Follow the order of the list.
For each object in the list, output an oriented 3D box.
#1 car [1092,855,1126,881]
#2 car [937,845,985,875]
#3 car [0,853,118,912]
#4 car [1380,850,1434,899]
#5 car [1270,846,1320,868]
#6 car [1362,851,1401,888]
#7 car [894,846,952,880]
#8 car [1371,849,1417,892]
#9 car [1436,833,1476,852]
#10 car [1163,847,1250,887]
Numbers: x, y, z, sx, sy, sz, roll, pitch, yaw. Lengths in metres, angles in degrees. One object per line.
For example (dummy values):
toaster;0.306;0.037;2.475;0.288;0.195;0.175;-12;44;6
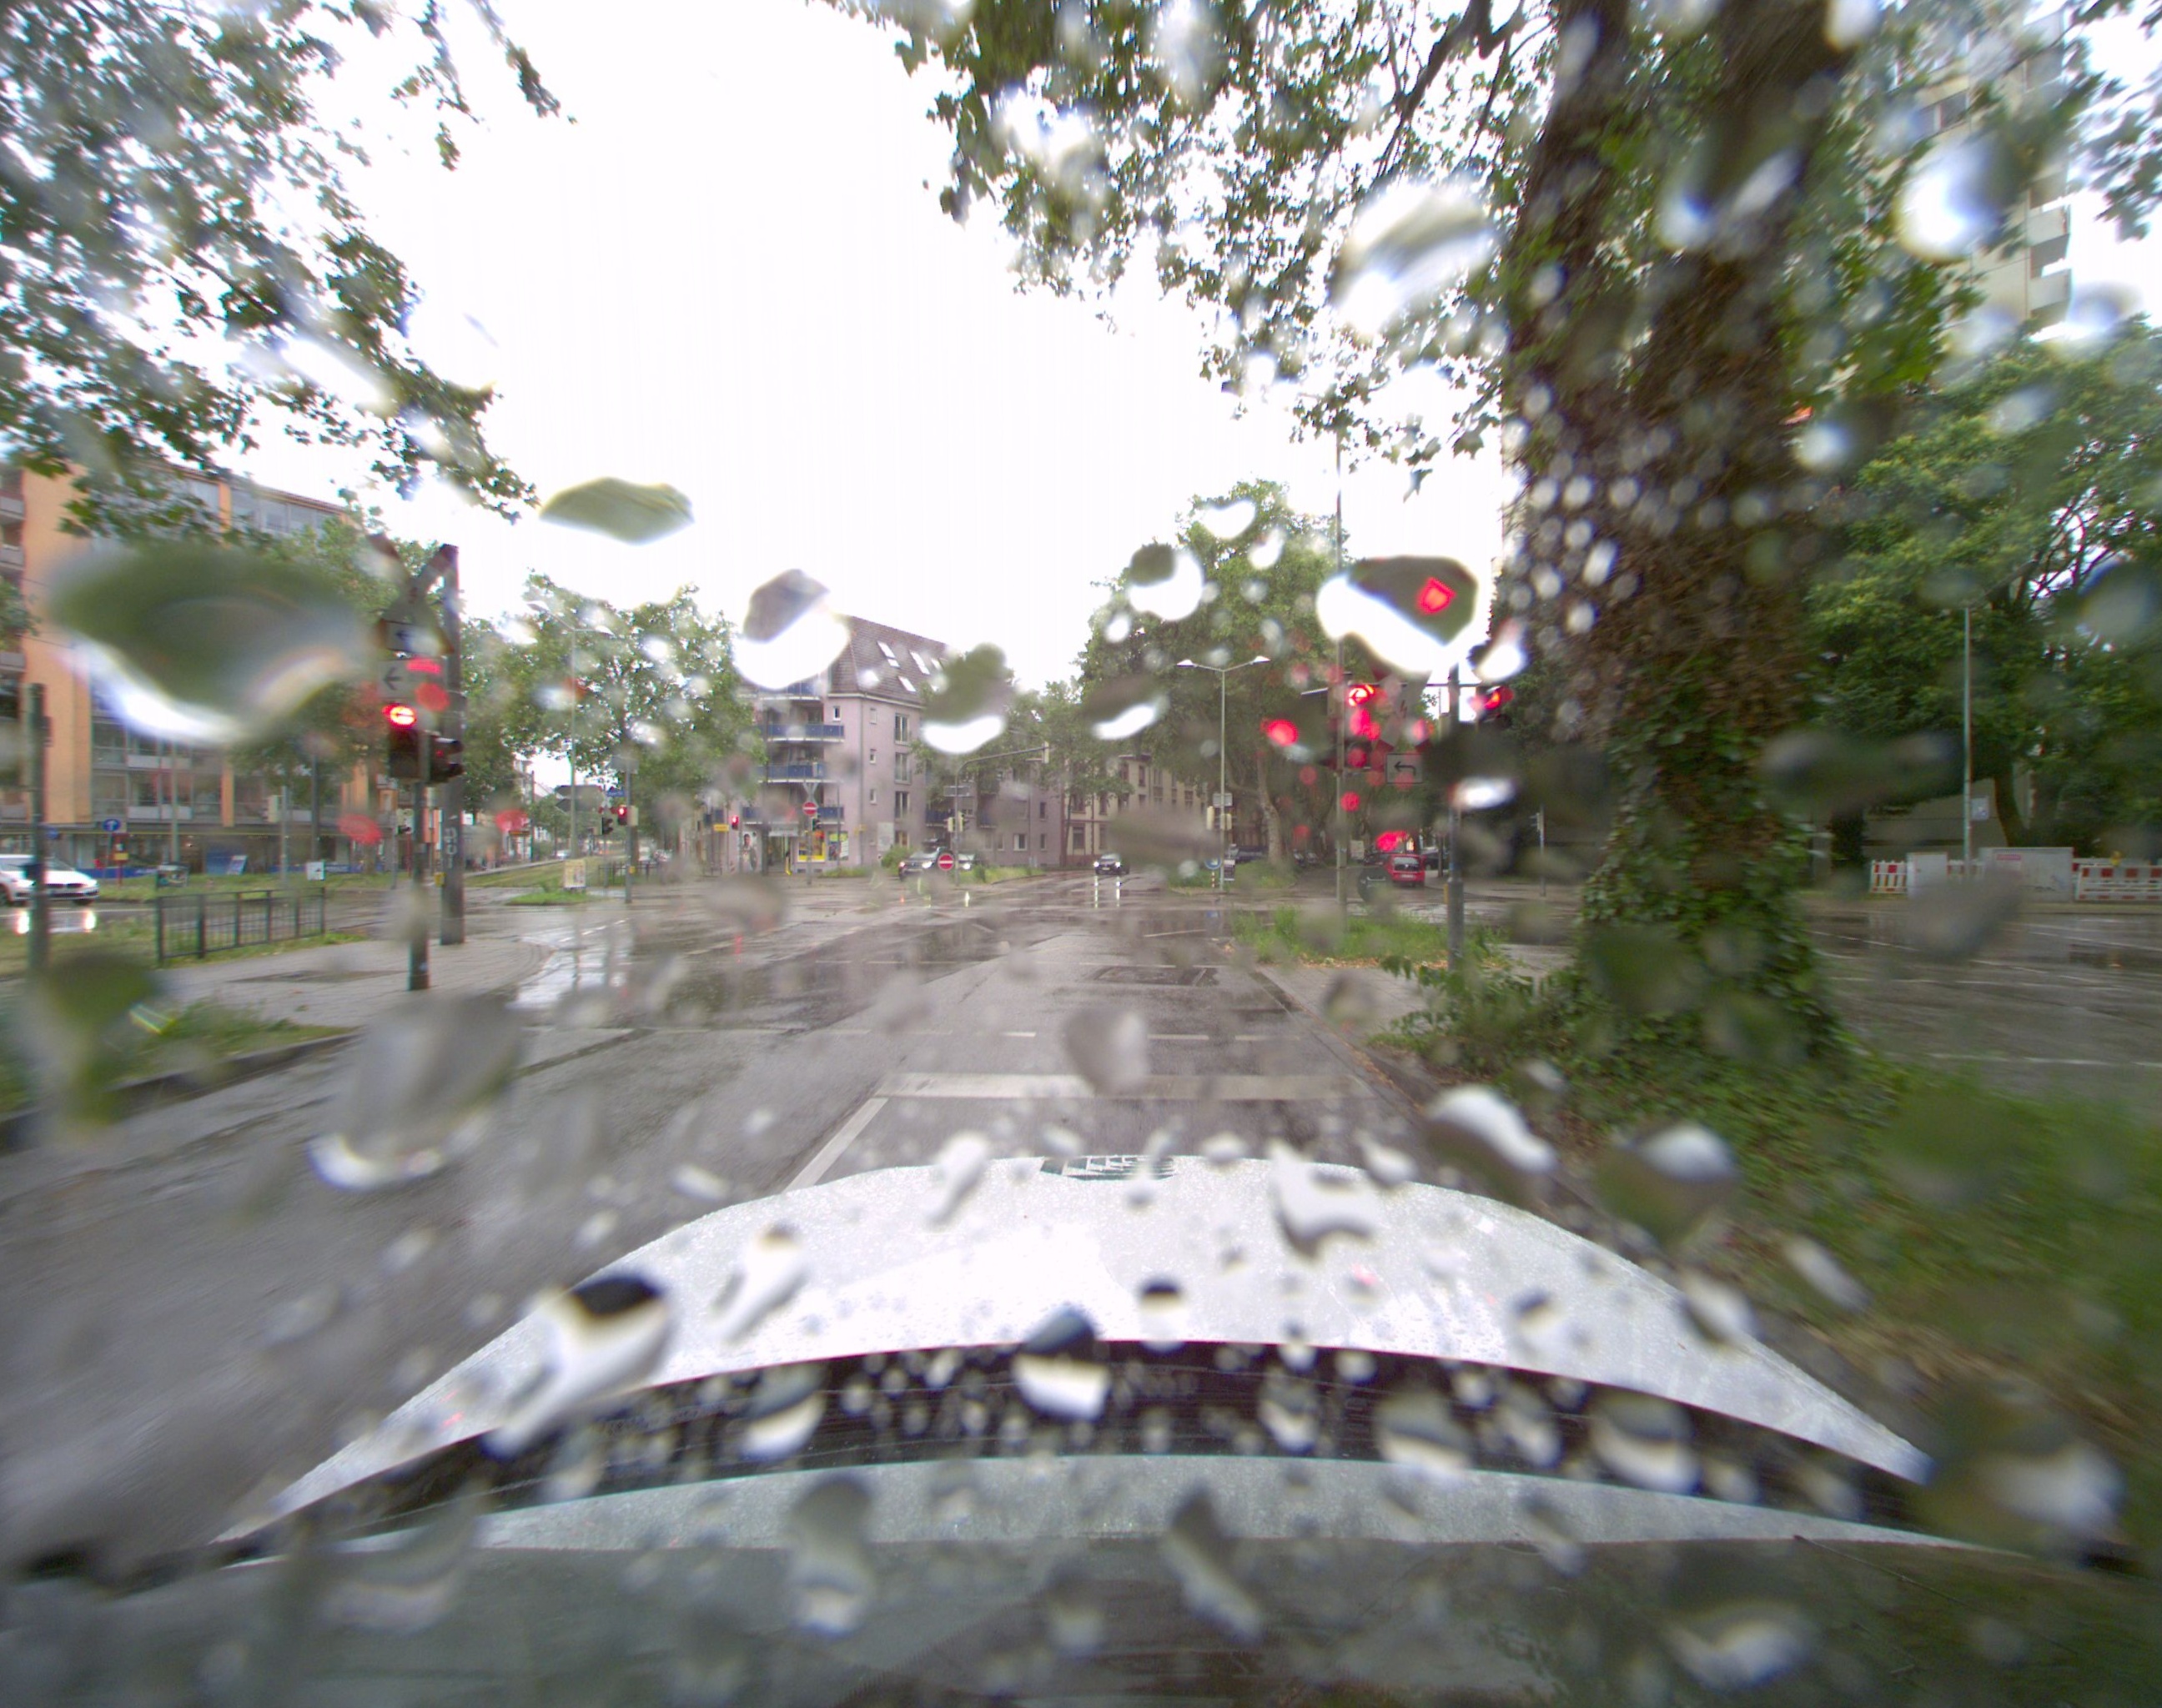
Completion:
car;1.905;0.901;54.297;1.591;1.552;3.572;-2;0;13
car;-6.802;0.308;46.508;1.715;1.552;3.568;-2;0;8
car;-32.048;0.877;24.731;3.977;1.651;1.980;-2;0;14
car;14.885;0.902;37.388;1.977;2.013;4.019;-2;0;18
car;17.392;0.238;66.291;3.571;1.618;1.692;-2;0;30
car;17.800;0.894;48.426;1.977;2.013;4.019;-2;0;18
car;-7.774;0.396;40.422;1.715;1.552;3.568;-2;0;8
car;16.152;0.817;42.139;1.977;2.013;4.019;-2;0;18
car;42.535;-1.356;92.486;3.953;2.013;1.716;-2;0;21
car;5.272;0.525;34.085;3.457;1.523;1.524;-2;0;10
